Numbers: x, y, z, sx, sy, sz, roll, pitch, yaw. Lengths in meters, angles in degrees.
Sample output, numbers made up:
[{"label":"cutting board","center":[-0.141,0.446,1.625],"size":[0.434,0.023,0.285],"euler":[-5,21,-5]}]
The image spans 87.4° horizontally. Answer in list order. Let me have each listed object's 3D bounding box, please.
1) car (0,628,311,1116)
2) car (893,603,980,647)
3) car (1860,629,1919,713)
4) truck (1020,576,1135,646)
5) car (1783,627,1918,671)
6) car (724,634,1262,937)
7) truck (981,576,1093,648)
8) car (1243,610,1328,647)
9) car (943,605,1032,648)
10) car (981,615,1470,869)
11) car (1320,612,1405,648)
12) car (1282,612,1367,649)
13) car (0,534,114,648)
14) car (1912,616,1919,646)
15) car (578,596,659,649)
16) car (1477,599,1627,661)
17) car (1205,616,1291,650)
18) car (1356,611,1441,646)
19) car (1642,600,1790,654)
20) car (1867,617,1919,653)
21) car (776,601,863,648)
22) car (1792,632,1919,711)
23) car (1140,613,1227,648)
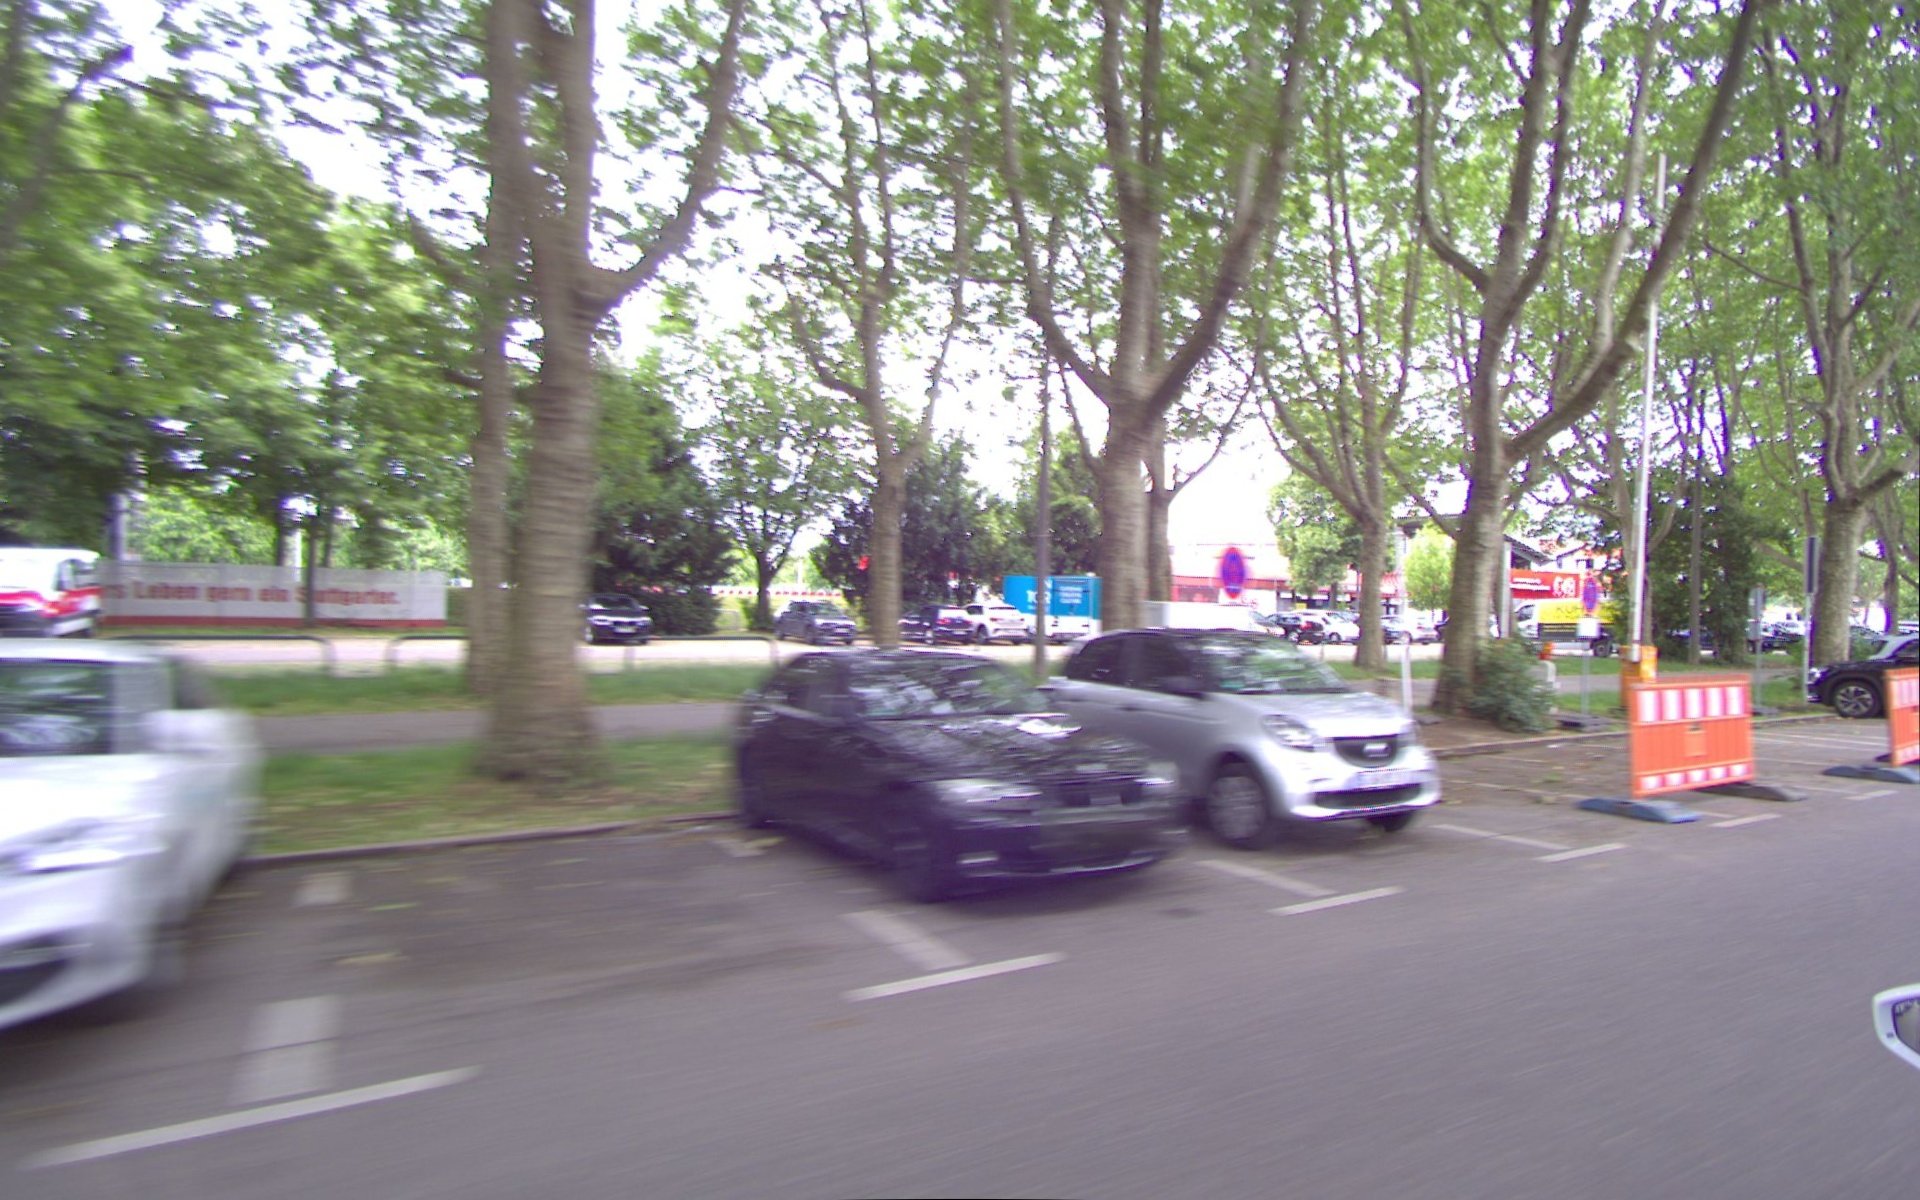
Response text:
[{"label":"car","center":[-4.338,0.866,4.696],"size":[1.672,1.448,4.386],"euler":[1,-2,-26]},{"label":"car","center":[-0.944,0.931,38.138],"size":[1.660,1.506,3.782],"euler":[1,0,-31]},{"label":"car","center":[20.875,1.407,19.729],"size":[1.742,1.698,4.449],"euler":[1,-3,-31]},{"label":"truck","center":[4.945,0.417,43.158],"size":[2.180,2.779,5.211],"euler":[1,1,-30]},{"label":"car","center":[48.297,2.605,54.603],"size":[2.147,2.041,5.059],"euler":[1,0,-26]},{"label":"car","center":[-0.128,0.967,7.107],"size":[1.676,1.448,4.308],"euler":[1,-2,-33]},{"label":"truck","center":[3.047,0.434,41.217],"size":[1.905,2.779,5.287],"euler":[1,1,-30]},{"label":"car","center":[15.409,1.335,47.679],"size":[1.519,1.611,3.734],"euler":[1,0,-32]},{"label":"car","center":[1.016,1.013,39.146],"size":[1.693,1.506,3.782],"euler":[1,0,-31]},{"label":"car","center":[1.914,0.948,8.318],"size":[1.676,1.575,3.805],"euler":[1,-2,-33]},{"label":"car","center":[20.074,1.487,50.260],"size":[1.669,1.611,3.979],"euler":[1,0,-21]},{"label":"car","center":[17.616,1.449,48.686],"size":[1.519,1.611,3.734],"euler":[1,0,-32]},{"label":"car","center":[-23.123,-0.242,25.096],"size":[1.977,2.560,5.972],"euler":[1,0,-30]},{"label":"car","center":[66.910,2.171,66.628],"size":[2.147,2.041,5.059],"euler":[1,0,-26]},{"label":"car","center":[-10.908,0.684,31.984],"size":[1.660,1.506,3.782],"euler":[1,0,-31]},{"label":"car","center":[23.708,1.125,40.432],"size":[1.518,2.262,5.050],"euler":[1,1,-31]},{"label":"car","center":[13.243,1.508,46.387],"size":[1.519,1.368,3.734],"euler":[1,0,-32]},{"label":"car","center":[22.418,1.423,51.514],"size":[1.669,1.611,3.979],"euler":[1,0,-21]},{"label":"car","center":[35.174,1.206,46.907],"size":[2.147,2.262,5.059],"euler":[1,0,-26]},{"label":"car","center":[57.050,2.090,59.588],"size":[2.147,2.041,4.336],"euler":[1,0,-27]},{"label":"car","center":[-5.026,0.845,35.550],"size":[1.660,1.506,3.782],"euler":[1,0,-31]},{"label":"car","center":[18.664,1.312,18.588],"size":[1.978,1.446,4.641],"euler":[1,-3,-31]},{"label":"car","center":[9.667,1.287,43.602],"size":[1.518,1.368,3.735],"euler":[1,0,-31]}]
